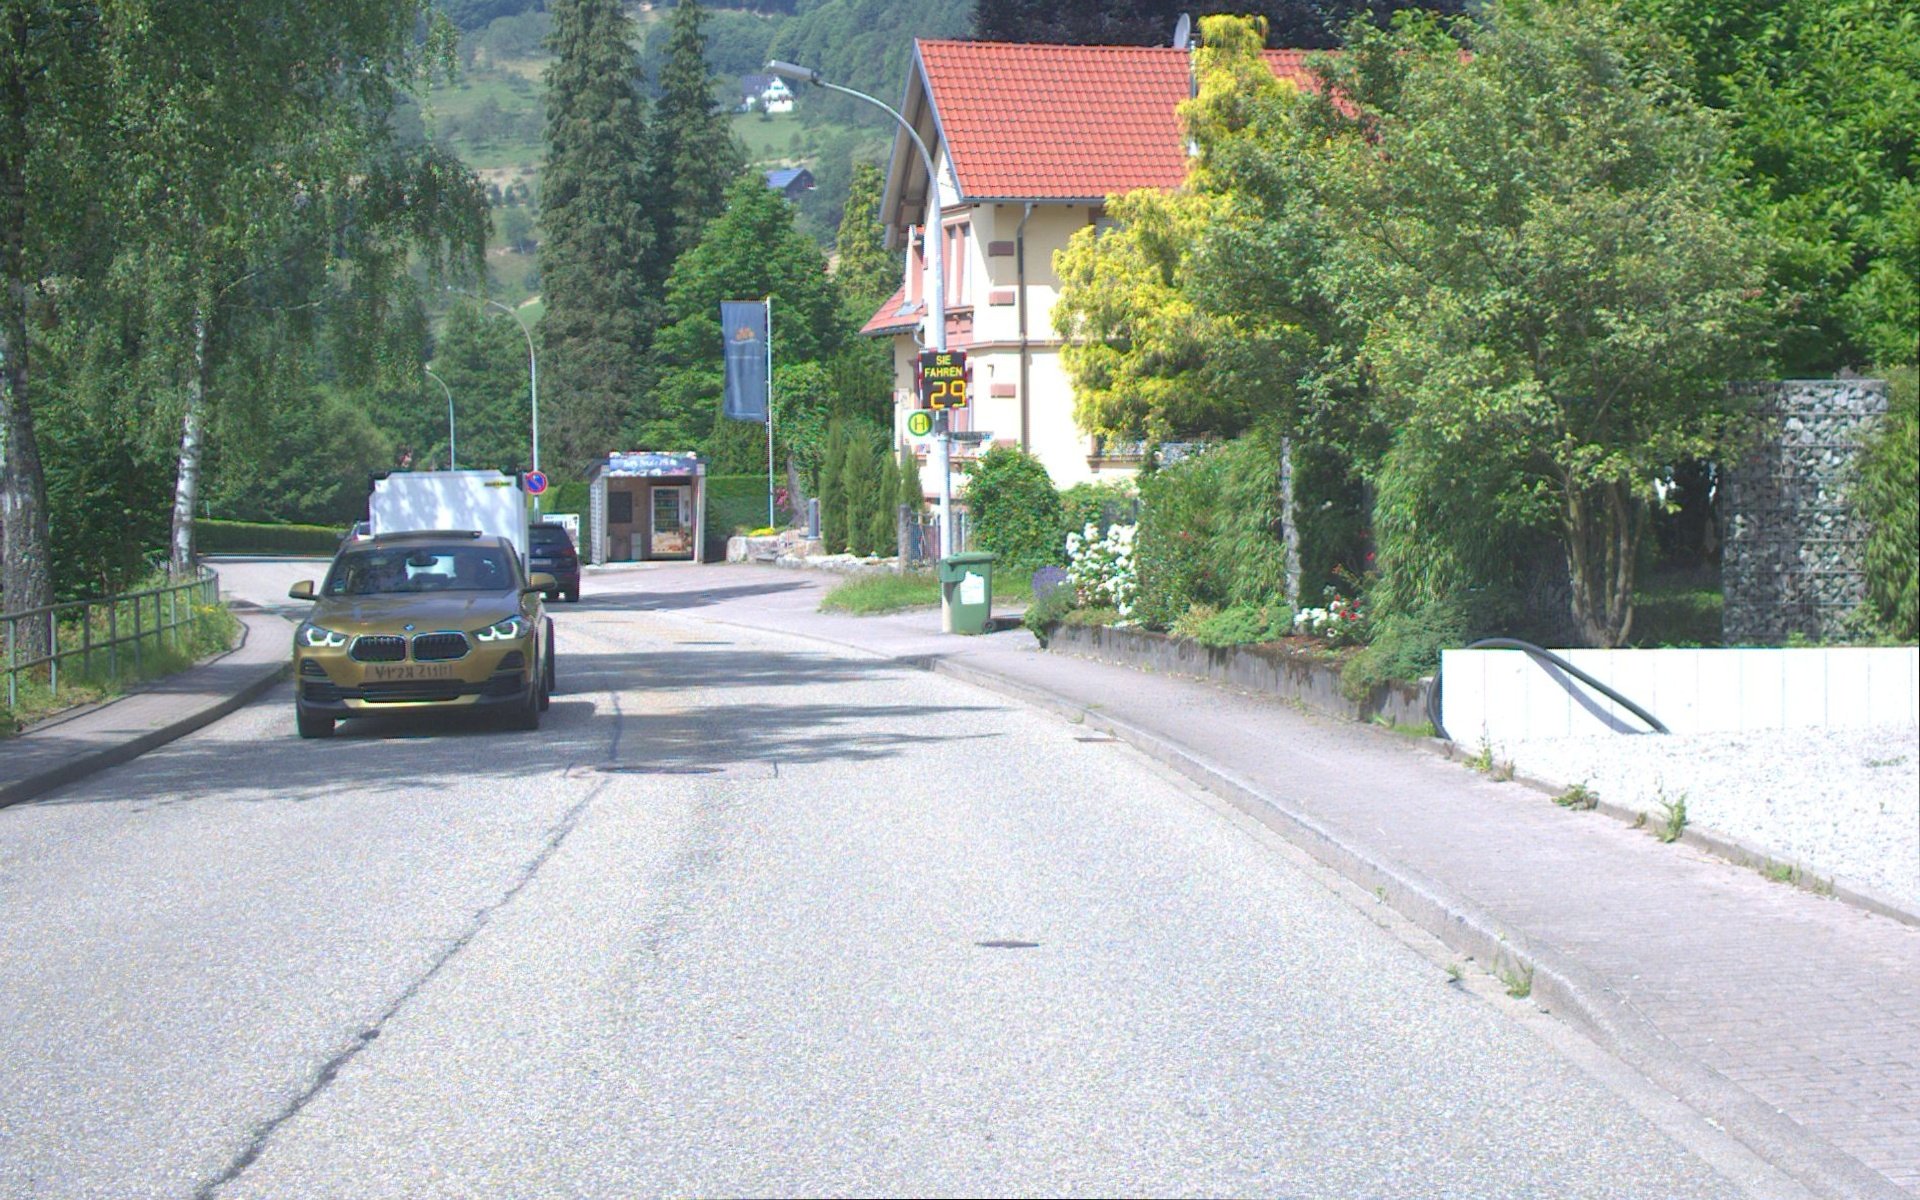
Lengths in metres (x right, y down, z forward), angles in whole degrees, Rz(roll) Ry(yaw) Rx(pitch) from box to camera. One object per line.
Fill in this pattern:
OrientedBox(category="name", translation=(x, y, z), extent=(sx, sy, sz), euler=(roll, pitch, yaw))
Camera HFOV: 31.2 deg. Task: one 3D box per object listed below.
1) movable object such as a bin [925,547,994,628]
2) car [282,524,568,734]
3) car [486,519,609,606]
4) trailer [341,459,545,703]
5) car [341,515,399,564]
OrientedBox(category="movable object such as a bin", translation=(-0.012, -0.167, 45.157), extent=(0.809, 1.039, 0.579), euler=(-1, 2, -9))
OrientedBox(category="car", translation=(-4.170, 0.167, 27.363), extent=(1.813, 1.495, 4.150), euler=(-1, 1, -3))
OrientedBox(category="car", translation=(-8.456, -0.778, 70.249), extent=(1.919, 1.692, 3.789), euler=(-2, 1, -15))
OrientedBox(category="trailer", translation=(-4.672, -0.208, 31.457), extent=(1.466, 2.070, 3.671), euler=(-1, 1, -3))
OrientedBox(category="car", translation=(-17.350, -1.787, 101.222), extent=(1.628, 1.417, 3.399), euler=(0, 1, -9))
